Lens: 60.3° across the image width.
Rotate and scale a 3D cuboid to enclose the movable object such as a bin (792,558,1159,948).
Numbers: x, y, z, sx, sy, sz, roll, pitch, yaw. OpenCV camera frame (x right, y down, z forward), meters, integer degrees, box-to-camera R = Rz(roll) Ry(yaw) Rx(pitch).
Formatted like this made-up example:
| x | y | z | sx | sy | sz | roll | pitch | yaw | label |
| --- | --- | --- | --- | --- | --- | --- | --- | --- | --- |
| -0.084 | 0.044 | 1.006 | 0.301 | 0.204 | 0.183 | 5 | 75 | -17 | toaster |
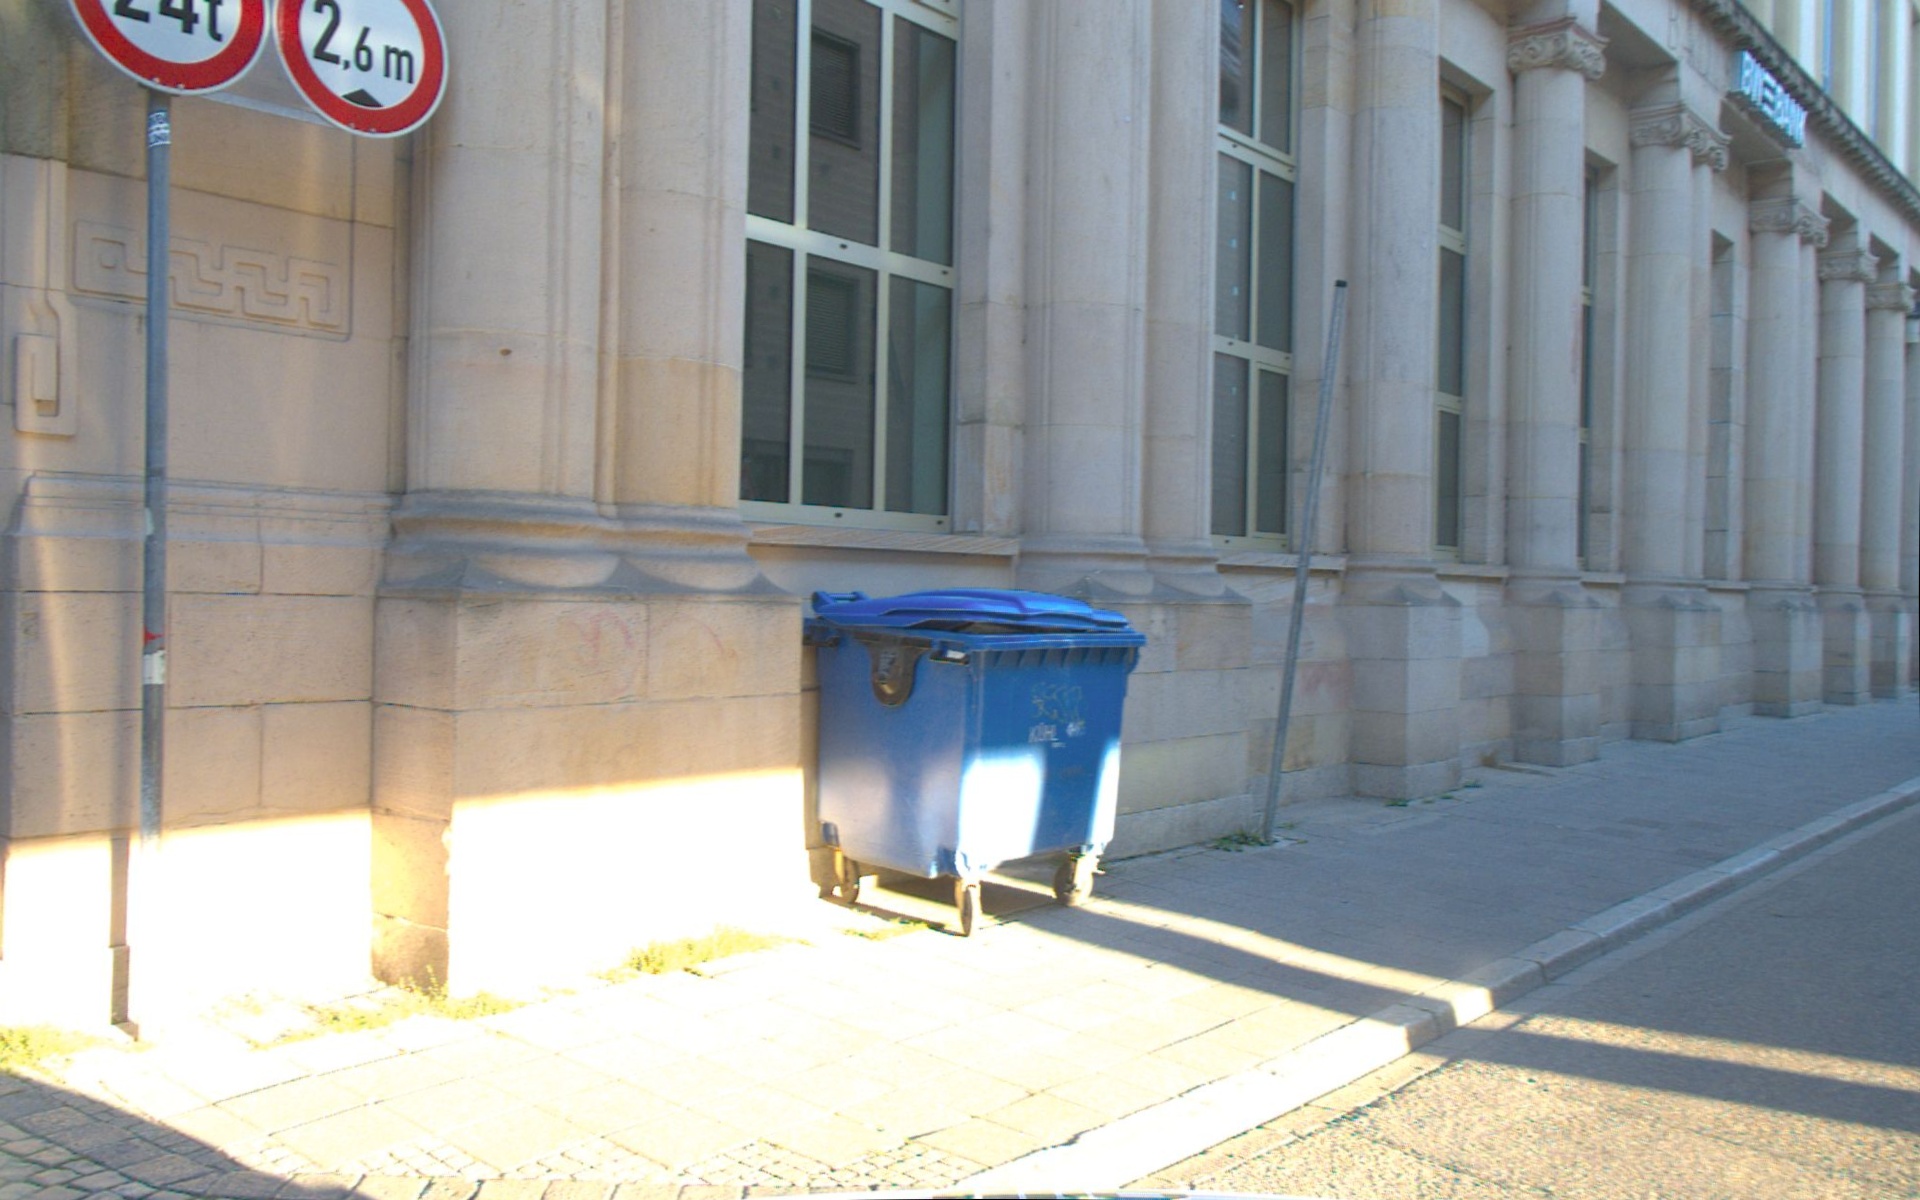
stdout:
| x | y | z | sx | sy | sz | roll | pitch | yaw | label |
| --- | --- | --- | --- | --- | --- | --- | --- | --- | --- |
| 0.074 | 0.592 | 7.233 | 1.059 | 1.500 | 1.179 | 3 | 1 | 43 | movable object such as a bin |
